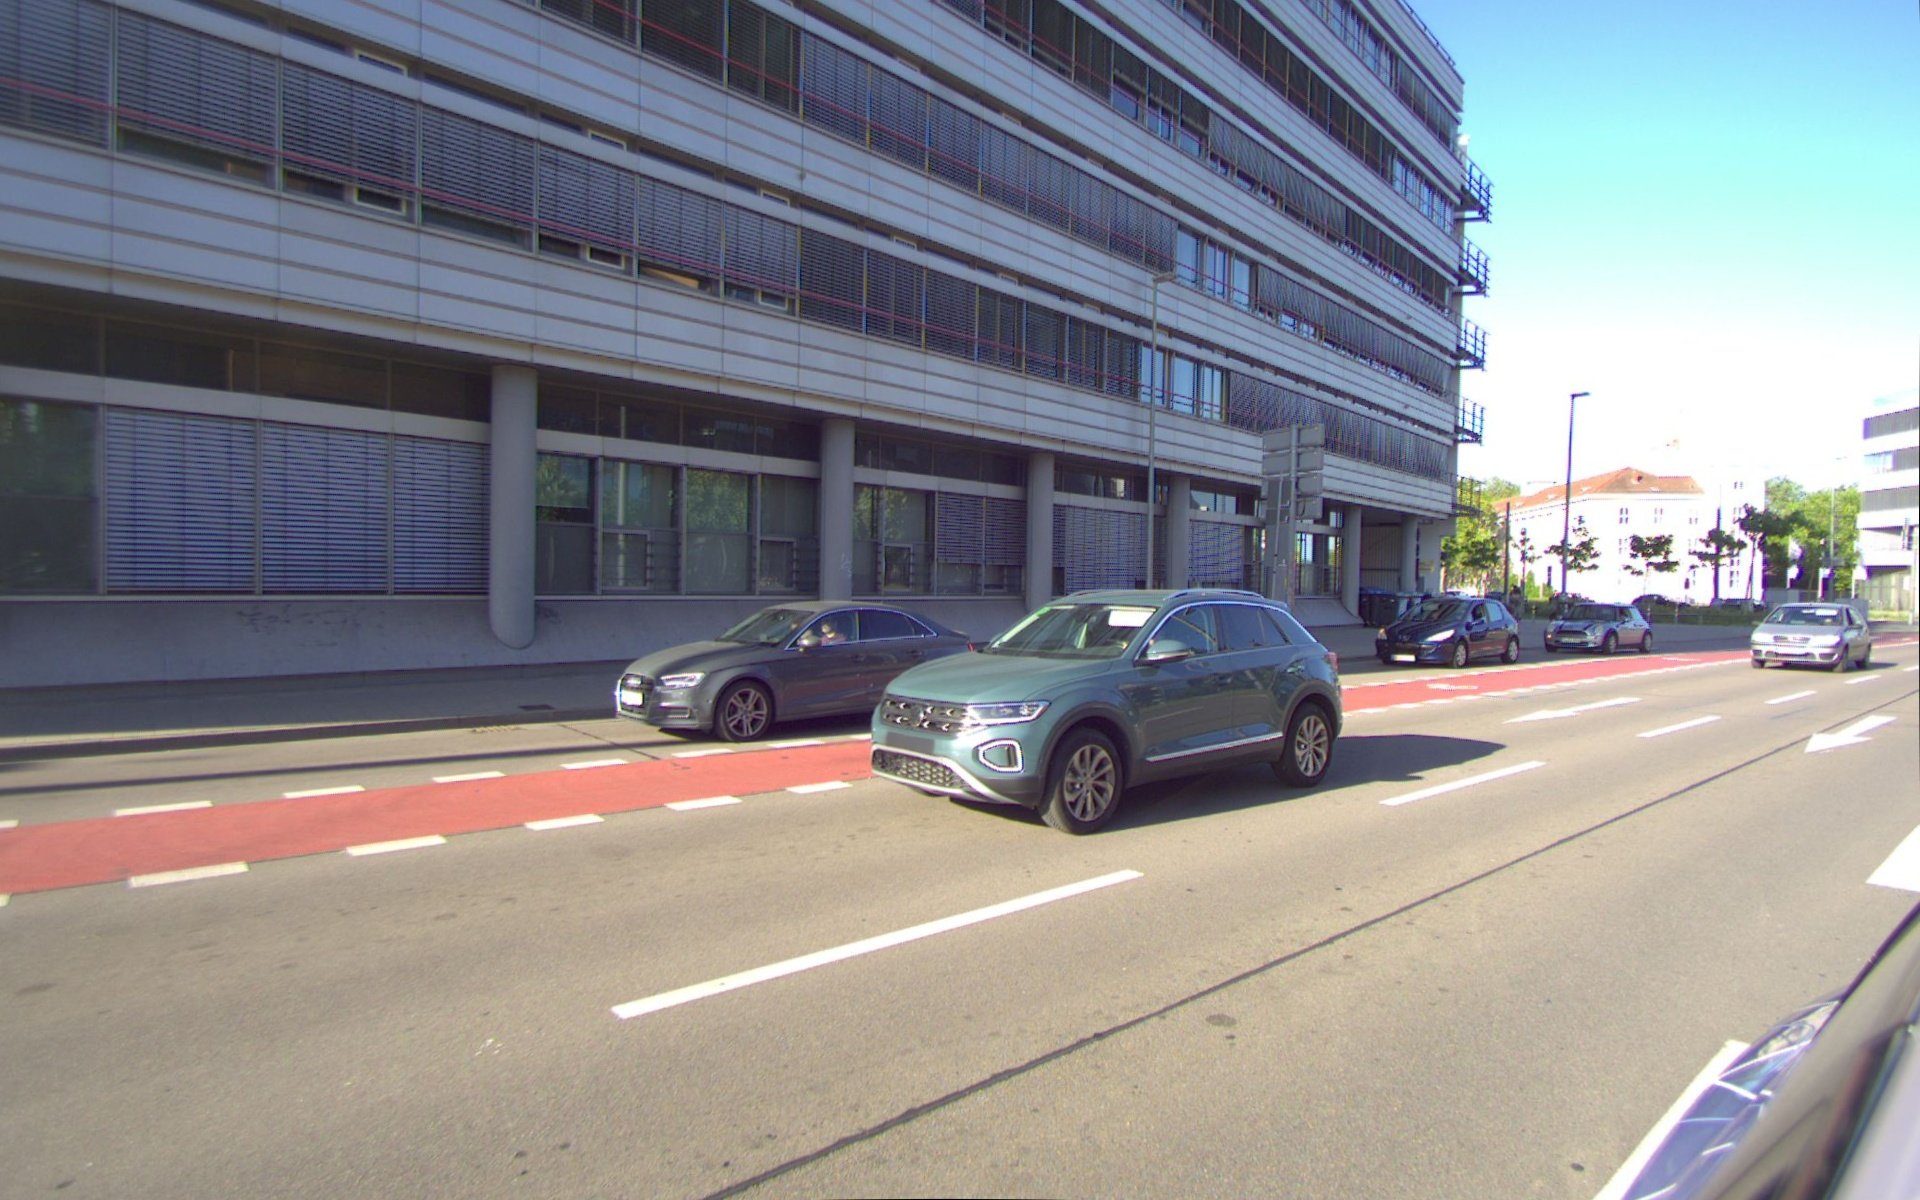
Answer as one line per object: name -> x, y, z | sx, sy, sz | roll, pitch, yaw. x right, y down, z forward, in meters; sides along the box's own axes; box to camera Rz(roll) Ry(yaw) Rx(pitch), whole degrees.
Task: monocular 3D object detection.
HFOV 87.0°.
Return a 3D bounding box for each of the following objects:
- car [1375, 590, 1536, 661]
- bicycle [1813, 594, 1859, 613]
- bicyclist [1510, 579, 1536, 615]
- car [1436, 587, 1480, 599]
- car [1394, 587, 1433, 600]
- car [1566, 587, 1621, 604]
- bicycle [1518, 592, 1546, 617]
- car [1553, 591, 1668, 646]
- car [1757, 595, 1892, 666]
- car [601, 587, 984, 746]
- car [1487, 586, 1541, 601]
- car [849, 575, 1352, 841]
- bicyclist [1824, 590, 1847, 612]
car -> 11.138, 0.537, 22.655 | 3.928, 1.464, 1.735 | 0, -1, -39
bicycle -> 64.900, 0.229, 75.007 | 0.932, 1.328, 2.376 | 0, 1, -27
bicyclist -> 26.055, -0.151, 46.825 | 0.973, 1.638, 0.685 | 0, 1, -39
car -> 53.736, -0.777, 109.312 | 1.958, 1.259, 4.009 | 0, 1, -19
car -> 51.860, -0.734, 115.910 | 1.894, 1.393, 4.009 | 0, 1, -17
car -> 59.438, -0.442, 94.985 | 1.958, 1.440, 4.009 | 0, 1, -21
bicycle -> 26.345, 0.201, 46.613 | 1.672, 1.070, 0.505 | -1, 4, -40
car -> 18.226, 0.486, 28.298 | 3.926, 1.464, 1.439 | 0, -1, -37
car -> 19.223, 0.612, 22.465 | 3.699, 1.447, 1.620 | 0, 0, -39
car -> -1.781, 0.612, 11.551 | 4.041, 1.459, 1.713 | 0, 2, -42
car -> 56.254, -0.641, 102.804 | 1.958, 1.439, 4.535 | 0, 1, -24
car -> 1.223, 0.603, 7.797 | 3.812, 1.523, 1.748 | 0, 2, -41
bicyclist -> 64.907, 0.068, 75.027 | 0.862, 1.627, 1.009 | 0, 1, -27
